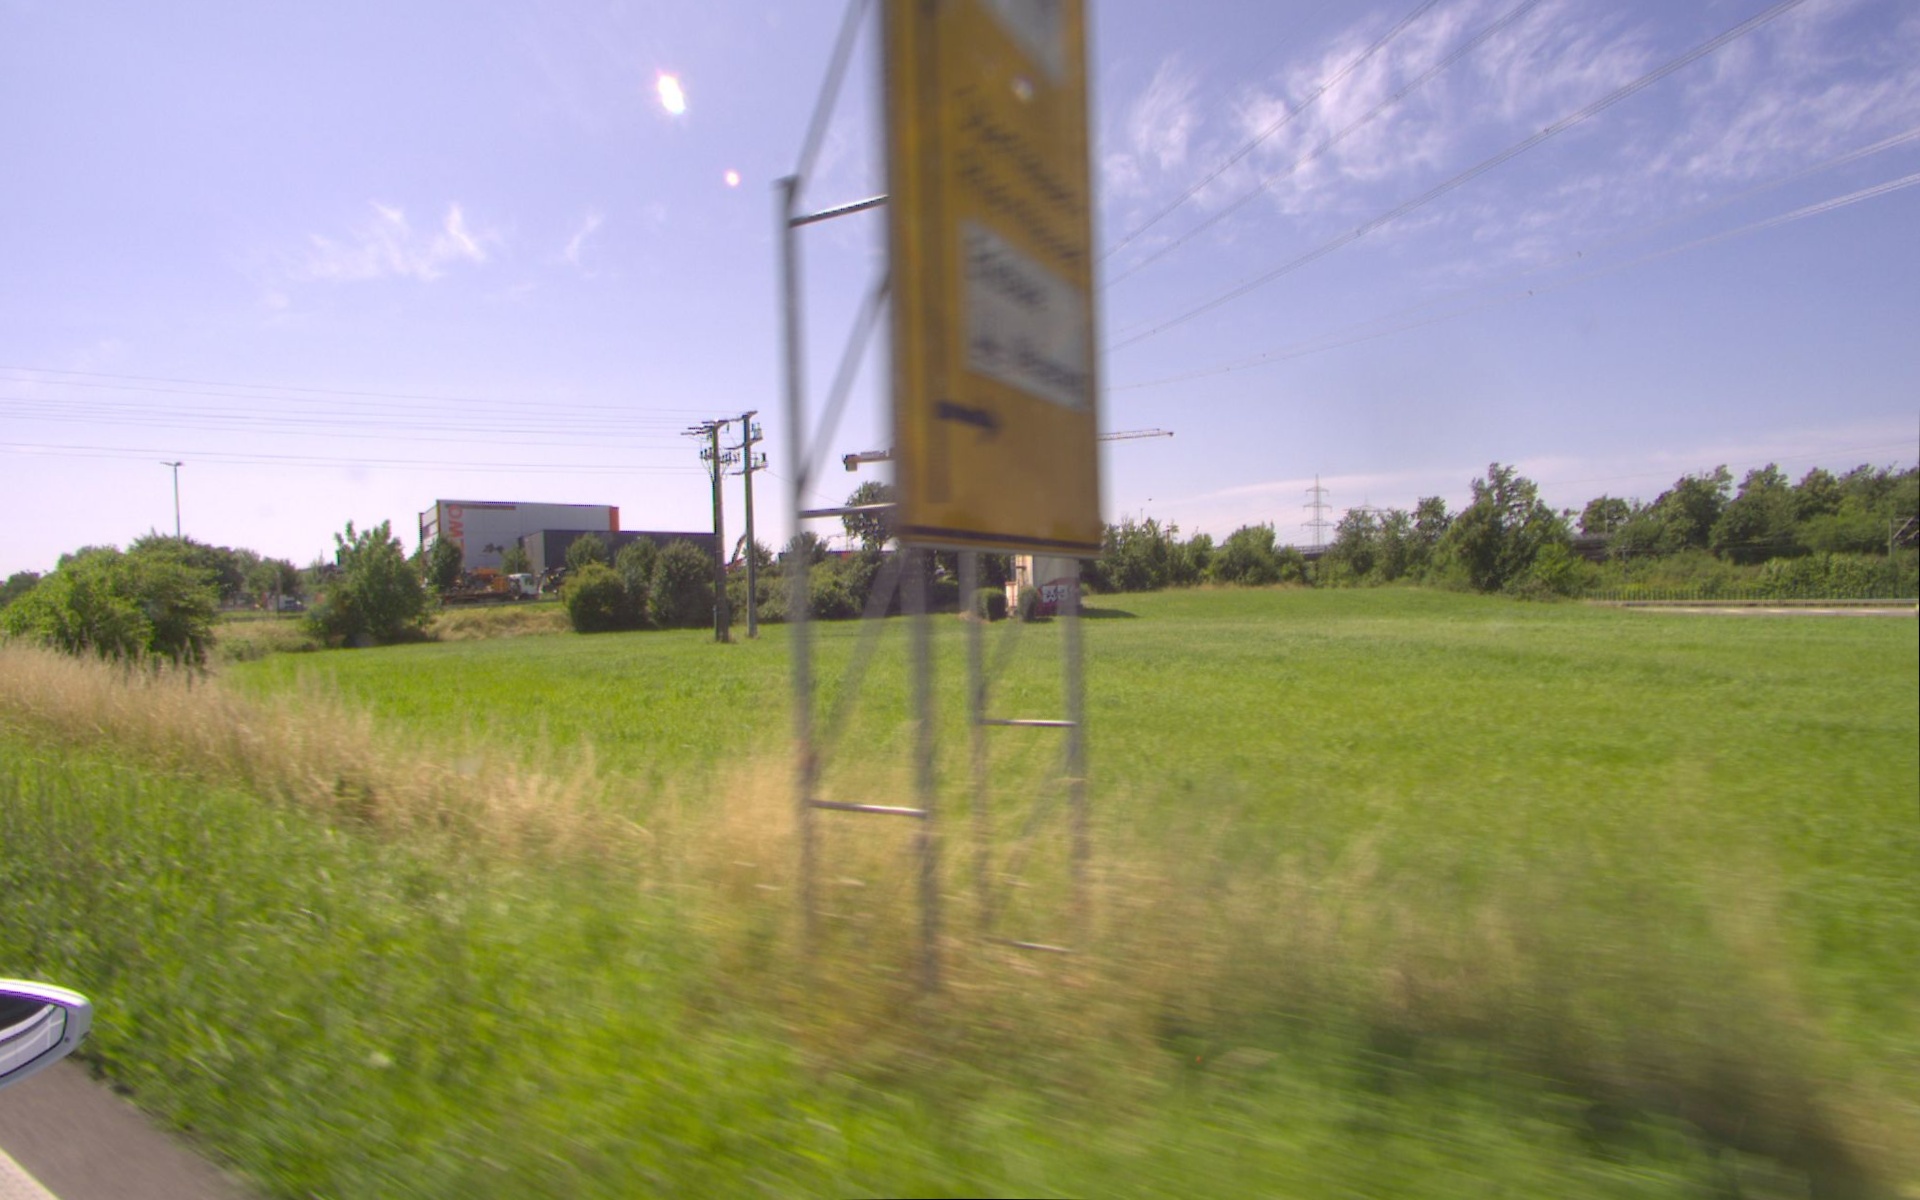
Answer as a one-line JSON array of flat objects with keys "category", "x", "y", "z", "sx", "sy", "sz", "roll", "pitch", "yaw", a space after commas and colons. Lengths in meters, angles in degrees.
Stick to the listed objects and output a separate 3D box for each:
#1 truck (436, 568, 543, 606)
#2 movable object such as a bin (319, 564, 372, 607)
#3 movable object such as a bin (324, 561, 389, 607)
[{"category": "truck", "x": -44.362, "y": -1.129, "z": 94.746, "sx": 3.069, "sy": 3.177, "sz": 8.746, "roll": -2, "pitch": -2, "yaw": 36}, {"category": "movable object such as a bin", "x": -79.168, "y": -1.808, "z": 129.038, "sx": 5.663, "sy": 5.336, "sz": 3.200, "roll": 0, "pitch": -2, "yaw": -36}, {"category": "movable object such as a bin", "x": -73.600, "y": -1.872, "z": 122.106, "sx": 6.529, "sy": 5.212, "sz": 3.781, "roll": 0, "pitch": -2, "yaw": -36}]
